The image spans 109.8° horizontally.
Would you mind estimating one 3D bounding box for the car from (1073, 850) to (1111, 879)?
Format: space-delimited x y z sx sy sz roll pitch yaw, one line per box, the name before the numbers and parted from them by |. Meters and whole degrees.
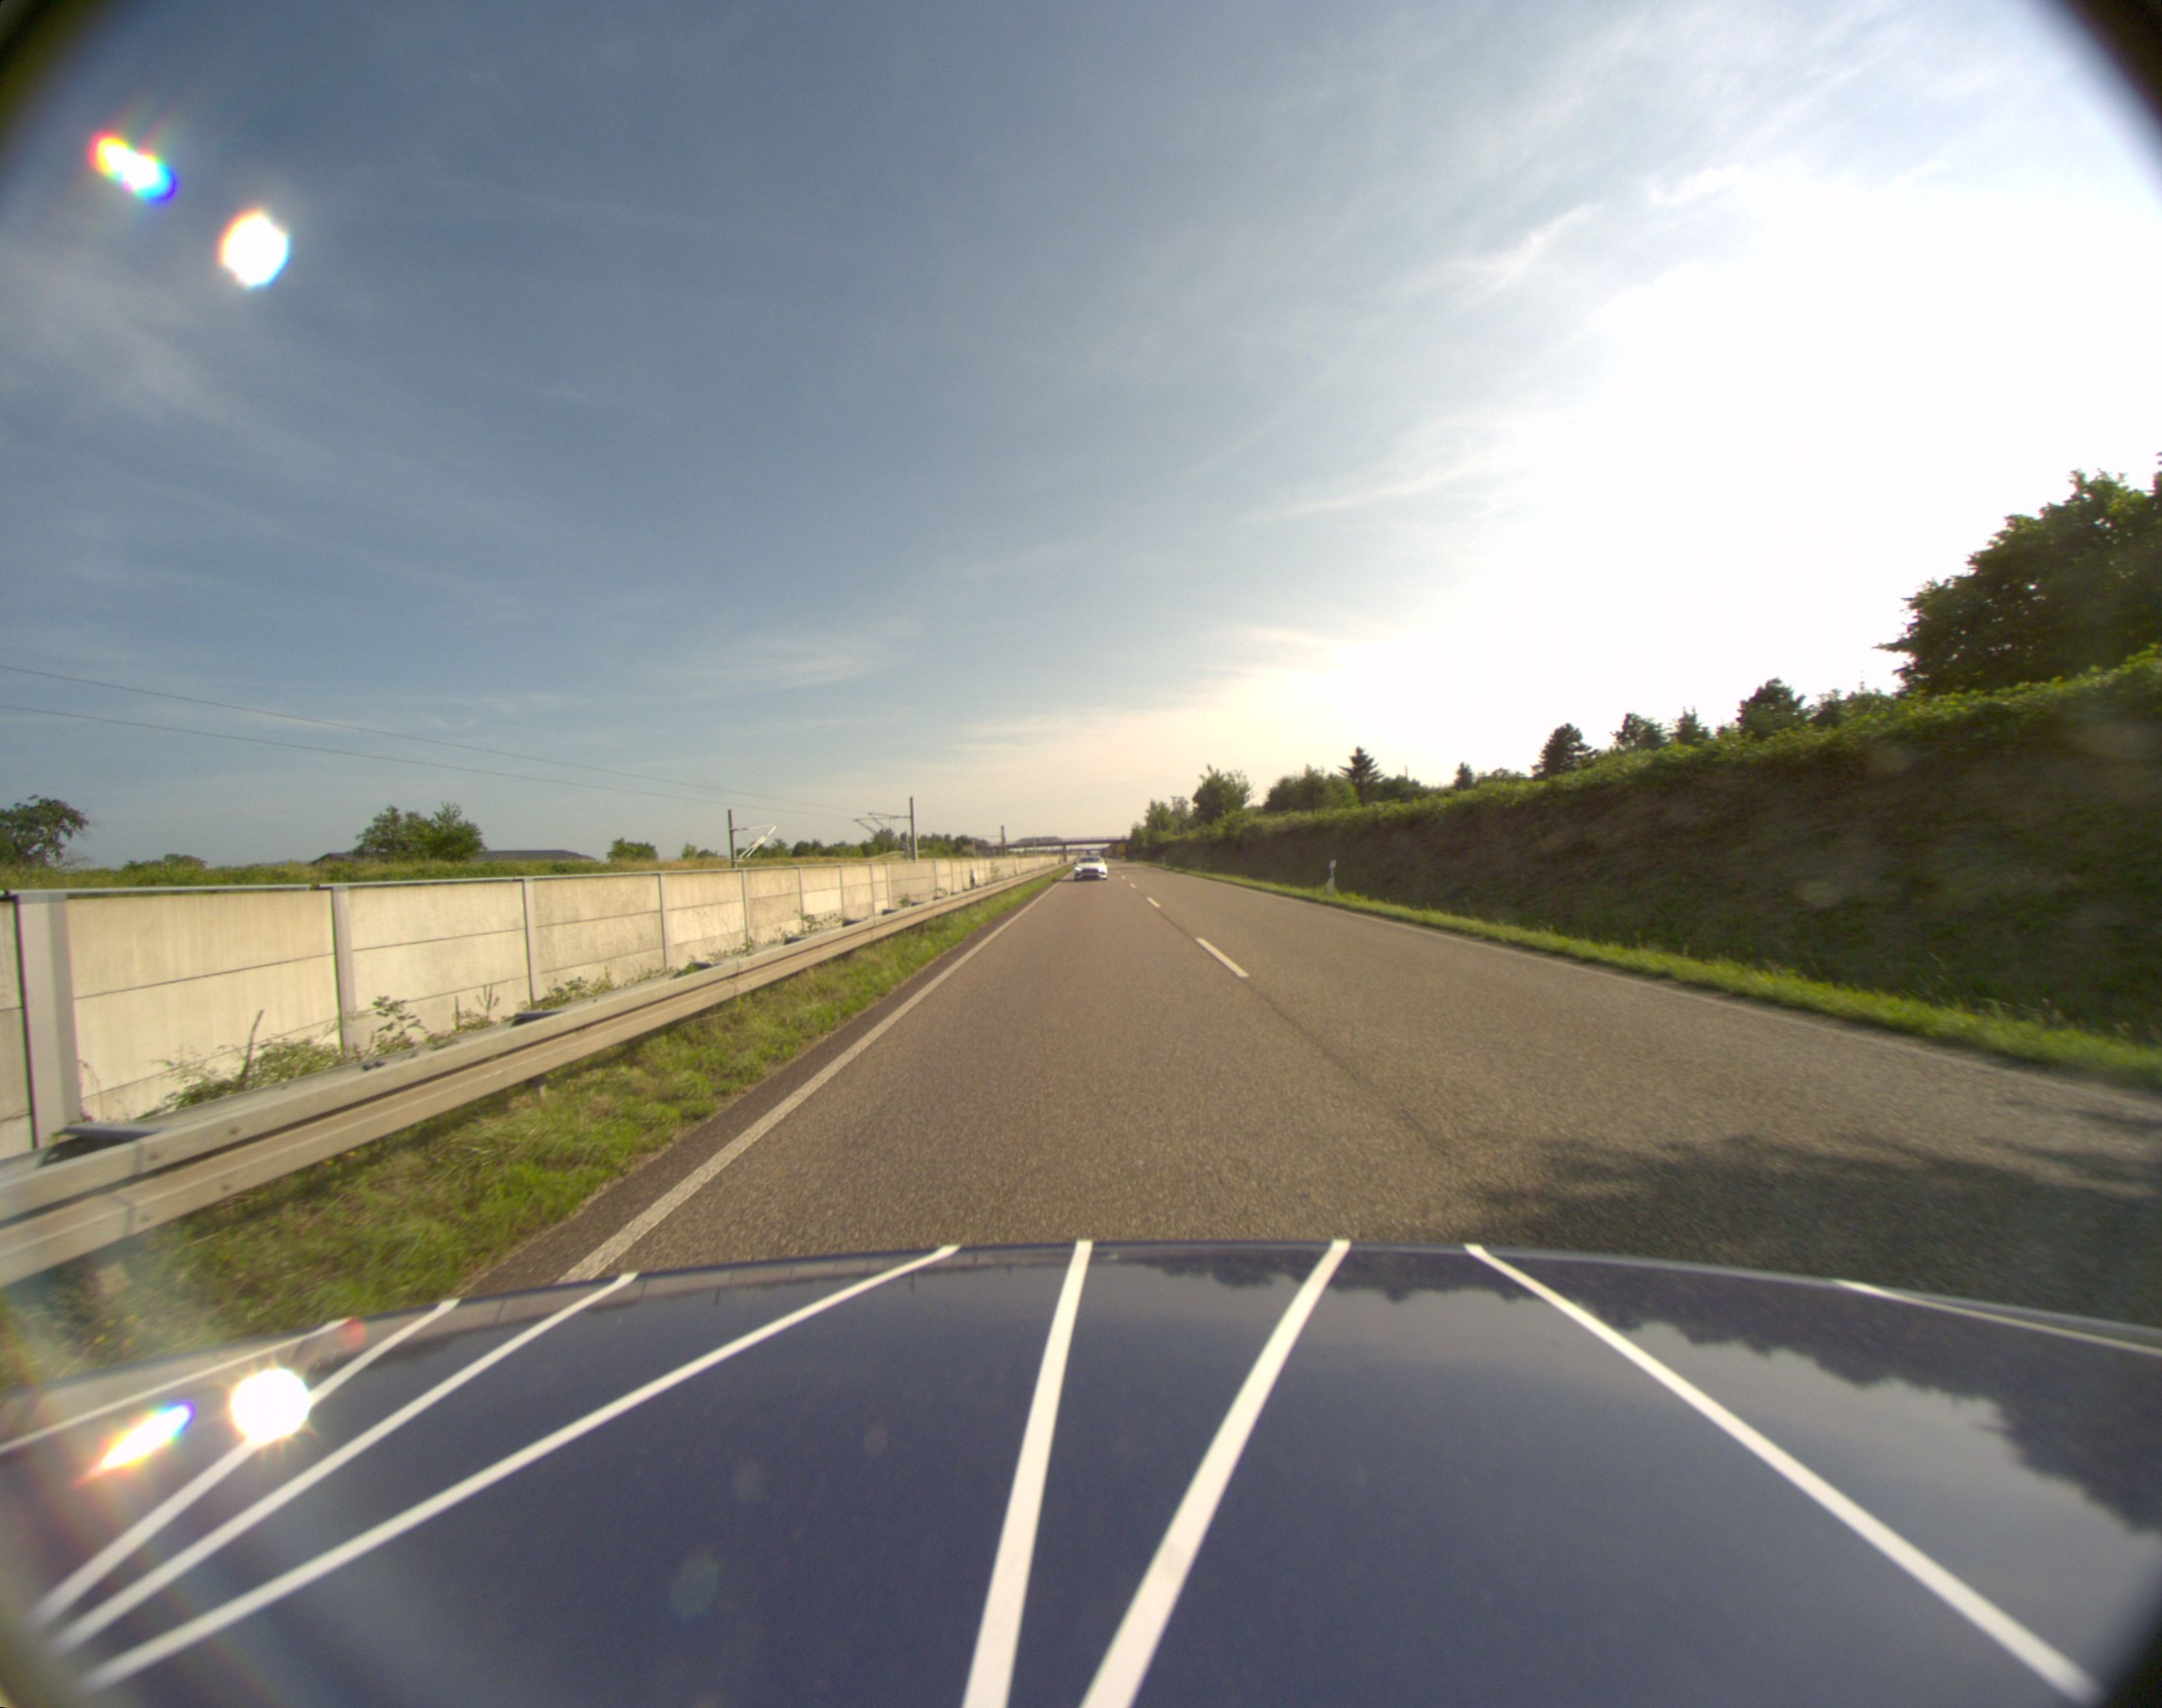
car | 0.637 0.544 42.858 1.952 1.430 4.611 -2 0 1
